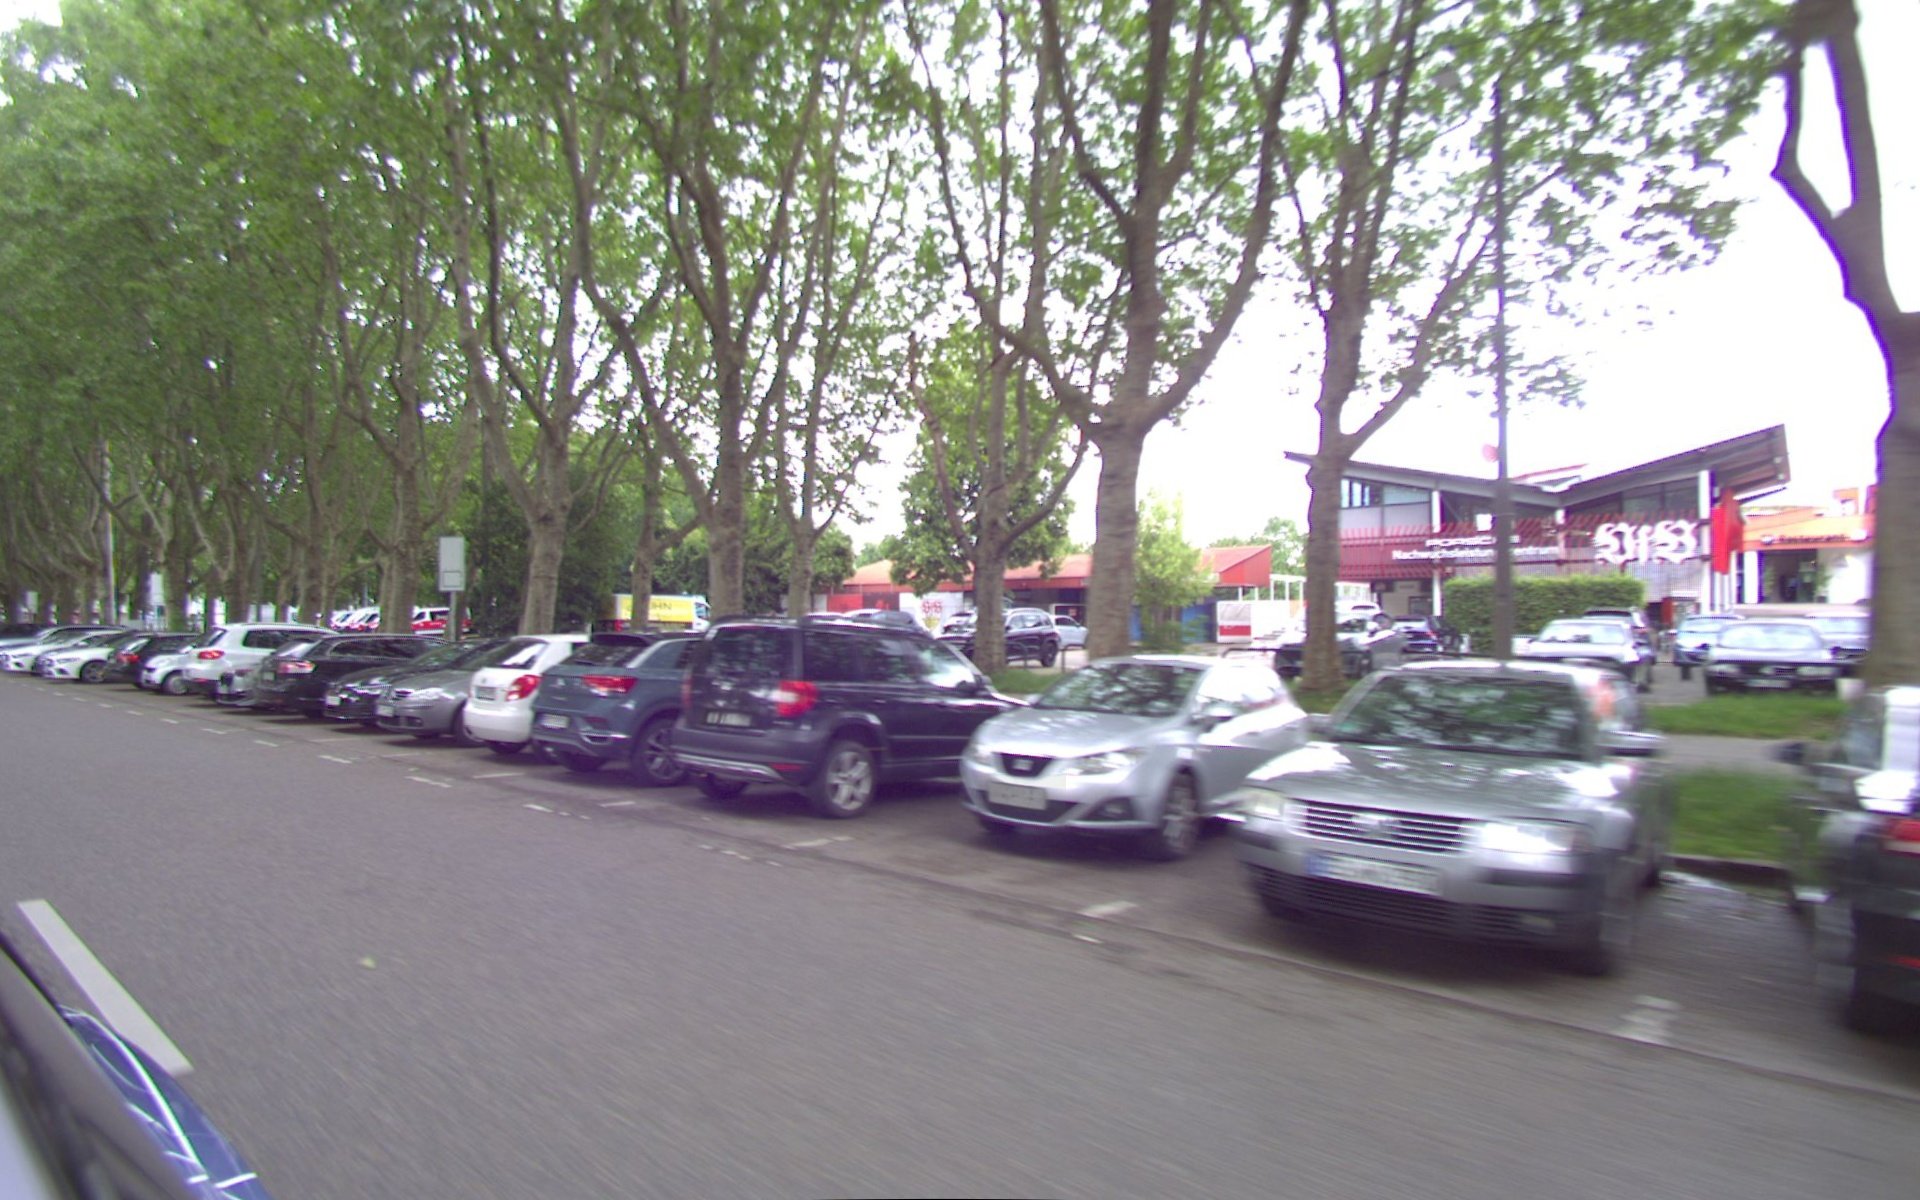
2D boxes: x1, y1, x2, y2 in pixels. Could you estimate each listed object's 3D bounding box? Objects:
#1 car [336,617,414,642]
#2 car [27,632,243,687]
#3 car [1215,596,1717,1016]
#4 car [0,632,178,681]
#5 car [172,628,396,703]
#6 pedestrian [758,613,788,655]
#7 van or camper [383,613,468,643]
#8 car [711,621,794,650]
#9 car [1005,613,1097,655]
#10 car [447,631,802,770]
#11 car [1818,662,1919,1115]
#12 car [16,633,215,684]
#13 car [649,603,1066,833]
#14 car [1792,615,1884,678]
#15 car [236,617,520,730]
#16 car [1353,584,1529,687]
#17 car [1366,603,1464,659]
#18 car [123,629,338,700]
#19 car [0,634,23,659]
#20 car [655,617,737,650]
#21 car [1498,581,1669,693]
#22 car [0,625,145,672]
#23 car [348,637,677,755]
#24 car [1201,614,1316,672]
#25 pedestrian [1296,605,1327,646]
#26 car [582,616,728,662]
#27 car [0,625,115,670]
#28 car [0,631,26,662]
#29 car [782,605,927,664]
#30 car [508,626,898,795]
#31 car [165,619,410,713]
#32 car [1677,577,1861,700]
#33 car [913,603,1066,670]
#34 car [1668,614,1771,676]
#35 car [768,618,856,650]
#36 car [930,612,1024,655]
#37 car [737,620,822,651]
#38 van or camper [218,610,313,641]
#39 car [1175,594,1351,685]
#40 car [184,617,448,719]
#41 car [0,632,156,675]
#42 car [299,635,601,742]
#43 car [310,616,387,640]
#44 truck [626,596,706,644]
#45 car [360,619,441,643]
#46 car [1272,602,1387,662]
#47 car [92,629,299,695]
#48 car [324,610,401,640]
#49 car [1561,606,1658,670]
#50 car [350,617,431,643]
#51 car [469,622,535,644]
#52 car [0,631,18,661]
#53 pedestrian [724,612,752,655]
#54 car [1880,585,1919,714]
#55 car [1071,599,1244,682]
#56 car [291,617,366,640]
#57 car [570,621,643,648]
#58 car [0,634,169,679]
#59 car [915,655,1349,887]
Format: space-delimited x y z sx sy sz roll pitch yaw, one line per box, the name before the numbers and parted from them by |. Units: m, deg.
car | -50.644 2.491 87.690 2.390 2.036 5.400 -1 -1 38
car | -23.449 1.679 28.925 2.042 1.455 4.370 -1 -3 34
car | 3.233 0.845 5.899 1.701 1.493 4.419 -2 -4 39
car | -27.606 1.781 31.922 1.774 1.435 4.364 -2 -4 39
car | -15.379 1.423 23.172 1.855 1.464 3.945 -1 -1 41
pedestrian | -8.253 1.479 44.739 0.917 1.814 0.932 -1 -1 41
van or camper | -43.010 2.227 81.504 2.328 2.272 5.647 -1 -1 40
car | -10.903 1.836 53.320 1.899 1.407 3.946 -2 -2 40
car | 3.755 1.329 41.148 1.996 1.562 3.983 -1 -1 36
car | -4.141 1.183 12.934 3.947 1.497 1.704 3 -4 -45
car | 4.888 0.993 4.266 1.700 1.409 3.893 -2 -3 37
car | -25.329 1.753 30.491 1.783 1.428 4.360 -2 -4 42
car | -0.777 0.986 9.694 1.750 1.721 3.891 -2 -4 39
car | 21.408 1.080 24.785 1.504 1.382 3.948 -1 -1 38
car | -10.062 1.170 17.705 1.855 1.695 3.945 -1 -1 41
car | 9.760 0.633 20.314 2.180 1.810 4.894 -1 -1 38
car | 14.224 0.916 31.536 1.996 1.637 3.951 -1 -1 37
car | -17.580 1.494 24.513 1.855 1.464 3.945 -1 -1 41
car | -55.768 2.583 56.777 2.090 1.445 4.515 -2 -4 42
car | -14.527 1.816 55.812 1.989 1.674 3.946 -1 -1 40
car | 11.751 0.608 18.901 2.180 1.810 4.894 -1 -1 38
car | -32.915 1.778 37.066 2.044 1.639 4.367 -2 -3 37
car | -6.218 1.272 14.445 1.701 1.431 3.953 -2 -4 39
car | 10.412 1.421 35.055 2.180 1.810 4.894 -1 -1 38
pedestrian | 14.557 1.061 41.887 0.987 1.670 0.830 -1 -1 40
car | -11.995 1.484 40.151 2.093 1.608 5.295 -1 -1 39
car | -35.138 1.798 38.391 2.044 1.639 4.366 -2 -3 37
car | -50.078 2.337 51.544 1.847 1.590 3.518 -2 -4 42
car | -3.253 1.122 31.996 1.997 1.734 4.508 -1 -3 38
car | -2.671 1.097 11.211 1.728 1.528 3.888 -2 -4 42
car | -13.957 1.282 21.160 1.855 1.695 3.945 -1 -1 41
car | 13.837 0.581 17.444 2.180 1.810 4.894 -1 -1 38
car | 0.908 1.059 28.354 1.997 1.734 4.508 -1 -3 38
car | 19.775 1.094 26.308 1.998 1.438 3.948 -1 -1 39
car | -7.233 1.630 49.667 1.990 1.460 3.946 -2 -2 40
car | 0.750 1.317 41.596 1.996 1.638 3.951 -1 -1 36
car | -9.092 1.785 51.232 1.899 1.407 3.946 -2 -1 40
van or camper | -50.168 1.790 73.196 2.241 2.115 5.234 -1 -1 38
car | 6.933 0.847 22.814 2.180 1.810 4.894 -2 -2 38
car | -12.248 1.199 19.431 1.855 1.695 3.945 -1 -1 41
car | -31.131 1.871 35.348 2.044 1.406 4.366 -2 -3 37
car | -8.049 1.307 16.261 1.842 1.379 3.948 -1 -1 39
car | -55.136 2.527 91.336 2.390 2.036 5.399 -1 -3 38
truck | -17.331 1.146 59.739 2.374 2.737 3.947 -1 -1 39
car | -45.561 2.485 82.522 1.997 1.864 5.400 -1 -1 38
car | 12.211 0.990 33.259 2.180 1.810 4.894 -1 -1 38
car | -19.422 1.518 25.835 1.855 1.464 3.945 -1 -1 41
car | -52.707 2.164 89.428 2.390 2.536 5.400 -1 -1 38
car | 18.063 0.994 28.064 1.996 1.637 3.951 -1 -1 37
car | -47.381 2.437 84.261 2.473 2.013 5.400 -1 -1 38
car | -32.462 2.327 71.841 1.797 1.498 3.951 -1 -1 36
car | -52.046 2.390 53.025 1.675 1.550 3.797 -2 -4 42
pedestrian | -9.552 1.434 43.494 0.917 1.814 0.808 -1 -1 41
car | 15.757 0.709 15.393 2.180 1.810 4.894 -2 -2 38
car | 4.924 0.904 24.721 2.180 1.810 4.894 -1 -1 38
car | -58.580 2.581 93.933 2.390 2.036 5.400 -1 -1 38
car | -21.795 2.090 62.450 1.731 1.519 3.948 -1 -1 39
car | -29.345 1.860 33.749 1.722 1.406 4.365 -2 -3 38
car | 1.603 1.152 8.263 1.825 1.375 3.891 -2 -4 39
